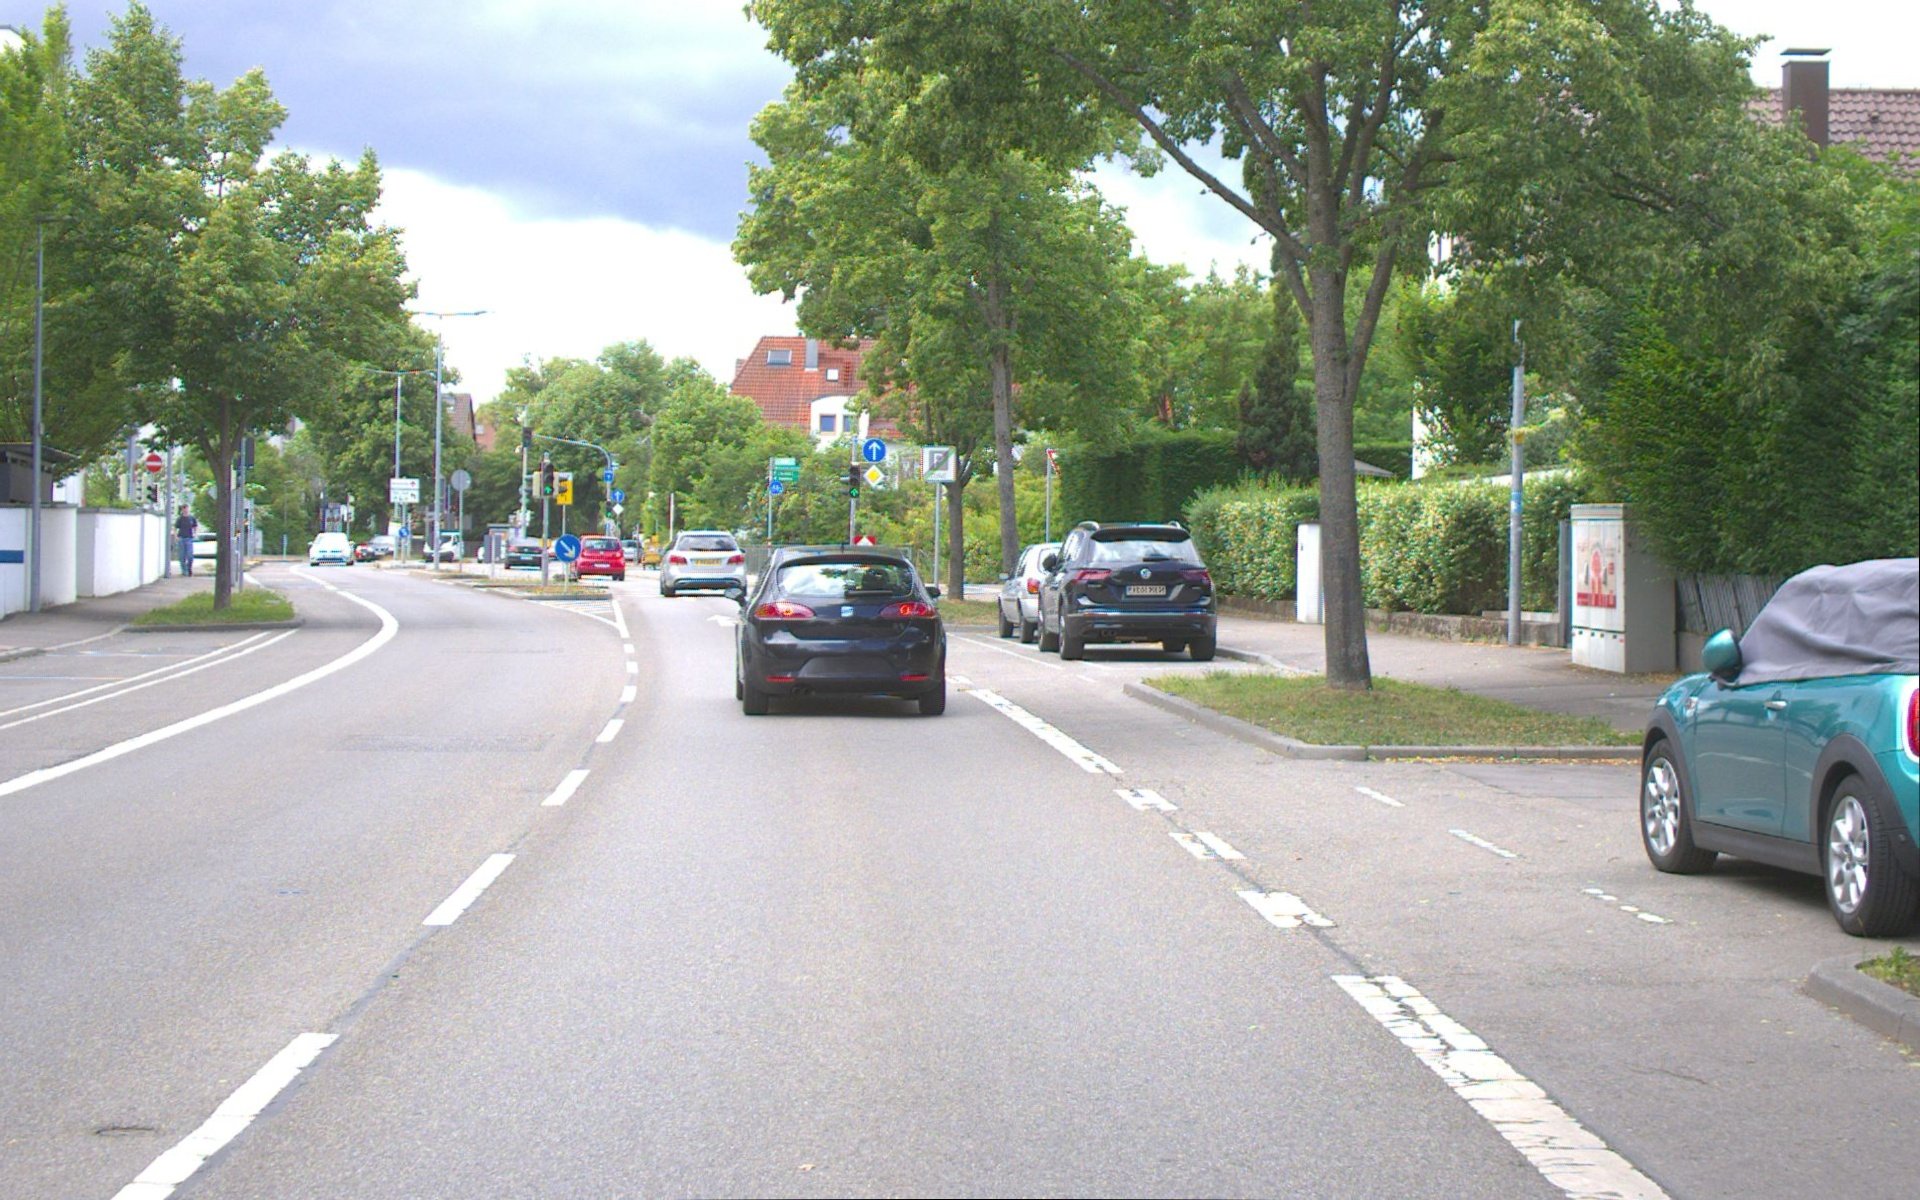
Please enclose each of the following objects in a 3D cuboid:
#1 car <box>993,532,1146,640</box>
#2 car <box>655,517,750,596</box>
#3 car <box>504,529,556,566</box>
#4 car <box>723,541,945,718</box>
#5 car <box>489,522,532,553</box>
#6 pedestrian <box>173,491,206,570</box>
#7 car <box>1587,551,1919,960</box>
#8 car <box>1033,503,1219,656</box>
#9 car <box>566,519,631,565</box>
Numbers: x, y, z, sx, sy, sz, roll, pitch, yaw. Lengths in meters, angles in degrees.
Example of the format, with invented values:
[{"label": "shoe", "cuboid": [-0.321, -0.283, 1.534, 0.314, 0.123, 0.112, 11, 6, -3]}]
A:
[{"label": "car", "cuboid": [1.497, -0.211, 48.023, 1.685, 1.444, 3.580, 0, 1, -5]}, {"label": "car", "cuboid": [-5.849, -1.000, 77.732, 1.993, 1.552, 4.002, -2, 3, -6]}, {"label": "car", "cuboid": [-18.647, -2.267, 149.248, 1.993, 1.503, 4.001, 1, 0, -4]}, {"label": "car", "cuboid": [-1.165, 0.218, 30.239, 1.783, 1.444, 3.558, -1, 1, -5]}, {"label": "car", "cuboid": [-24.438, -3.393, 187.122, 1.973, 1.670, 3.877, 1, 1, -2]}, {"label": "pedestrian", "cuboid": [-20.188, -1.822, 90.091, 0.752, 2.047, 0.725, 1, 0, -8]}, {"label": "car", "cuboid": [3.958, 0.528, 14.305, 1.683, 1.427, 4.045, 0, 1, -4]}, {"label": "car", "cuboid": [1.967, -0.260, 41.890, 1.788, 1.765, 3.983, 0, 1, -4]}, {"label": "car", "cuboid": [-12.111, -1.941, 115.080, 1.993, 1.525, 4.001, 0, 1, -9]}]
